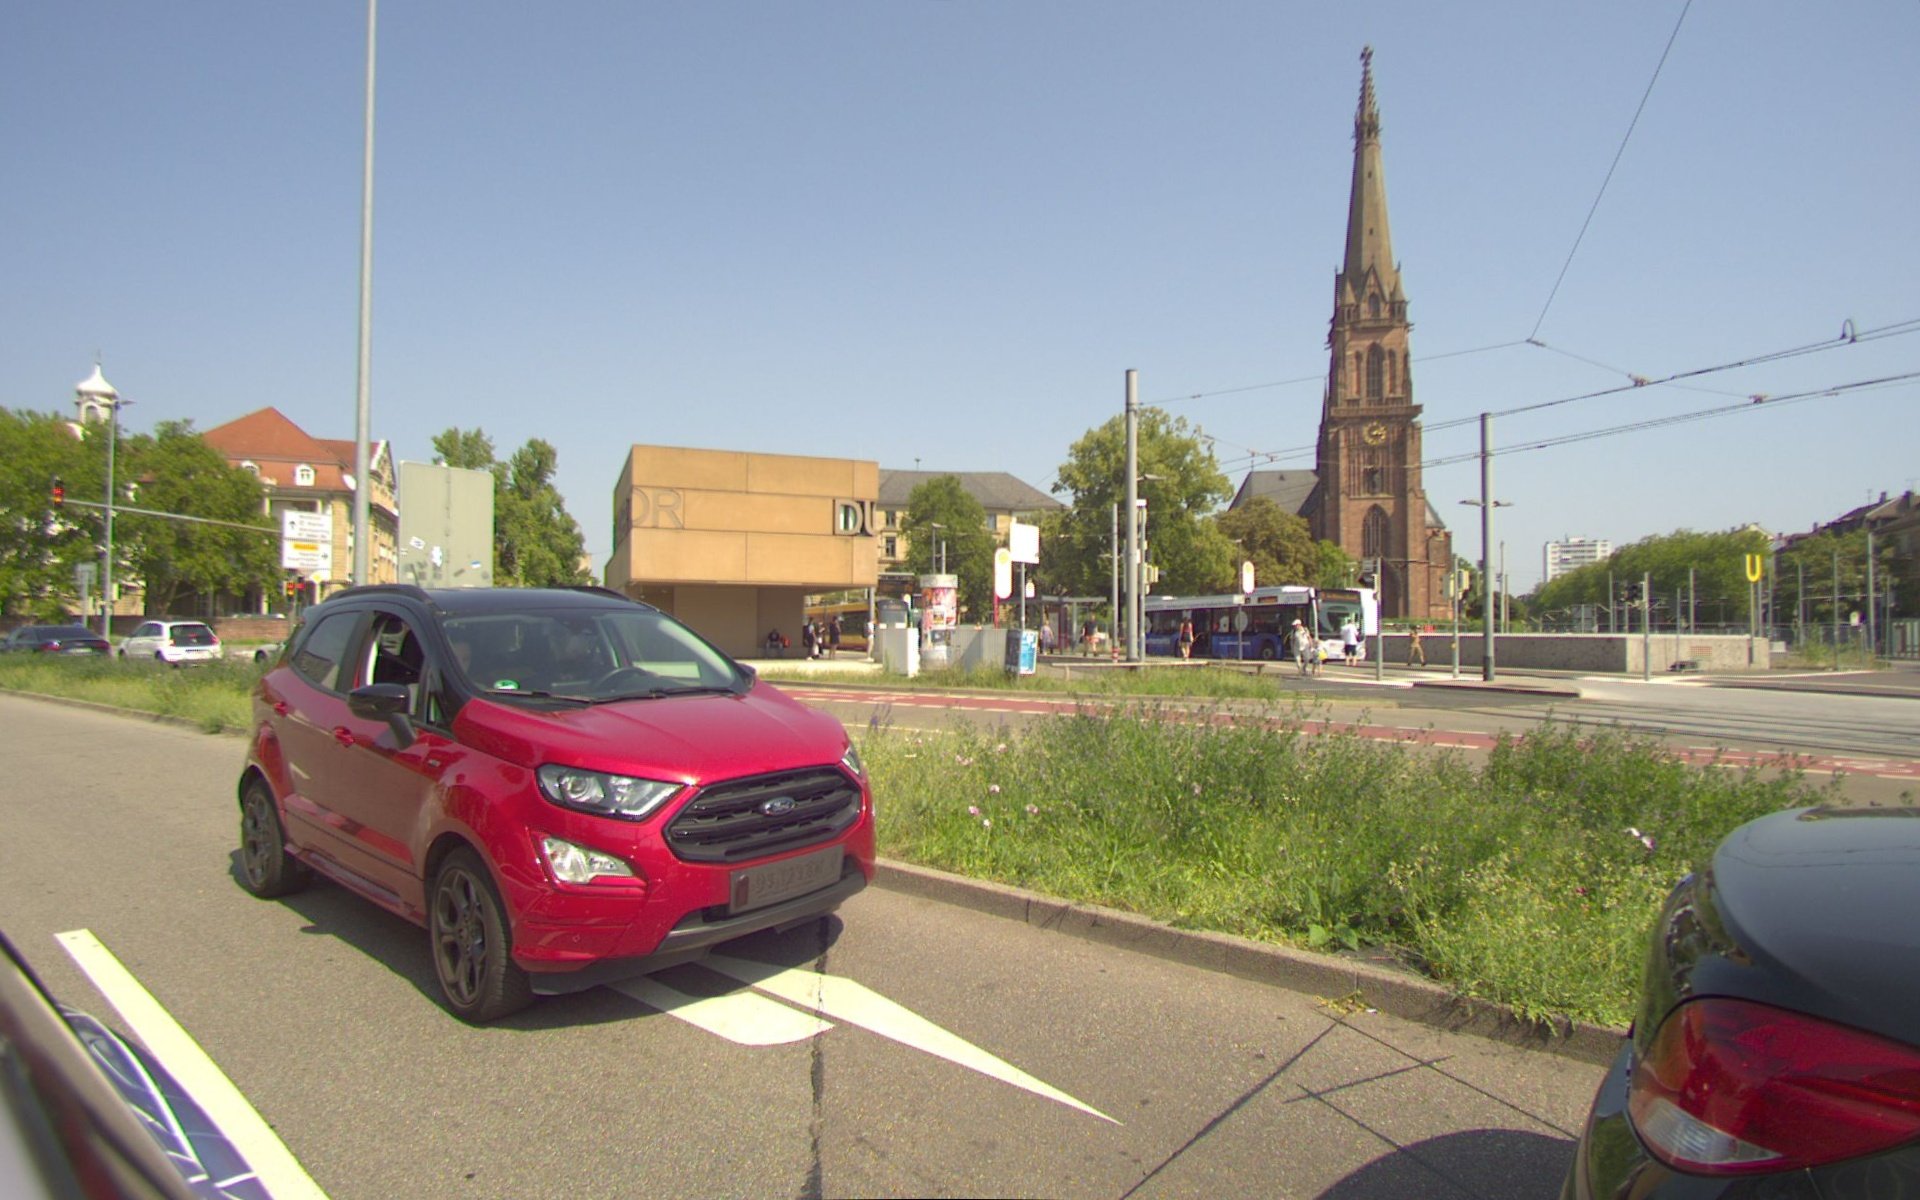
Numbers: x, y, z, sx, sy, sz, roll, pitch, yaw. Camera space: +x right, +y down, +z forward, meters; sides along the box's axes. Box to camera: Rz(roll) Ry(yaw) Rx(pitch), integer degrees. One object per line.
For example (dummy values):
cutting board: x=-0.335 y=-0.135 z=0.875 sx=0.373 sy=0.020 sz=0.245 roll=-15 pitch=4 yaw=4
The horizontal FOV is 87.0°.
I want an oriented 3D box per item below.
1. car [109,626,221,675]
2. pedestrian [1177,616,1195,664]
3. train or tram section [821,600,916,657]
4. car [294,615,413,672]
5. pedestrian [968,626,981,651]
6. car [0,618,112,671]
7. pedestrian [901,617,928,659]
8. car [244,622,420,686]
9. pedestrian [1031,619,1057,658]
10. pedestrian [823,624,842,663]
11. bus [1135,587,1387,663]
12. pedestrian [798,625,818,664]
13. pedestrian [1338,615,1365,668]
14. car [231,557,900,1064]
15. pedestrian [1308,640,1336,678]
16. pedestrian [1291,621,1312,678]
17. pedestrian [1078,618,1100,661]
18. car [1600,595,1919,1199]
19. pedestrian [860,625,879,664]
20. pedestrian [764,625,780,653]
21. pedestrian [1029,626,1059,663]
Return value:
car: x=-25.306 y=1.569 z=32.215 sx=3.460 sy=1.490 sz=1.512 roll=-1 pitch=-2 yaw=27
pedestrian: x=8.780 y=1.543 z=39.267 sx=0.632 sy=1.825 sz=0.599 roll=-1 pitch=0 yaw=16
train or tram section: x=-6.405 y=1.926 z=67.838 sx=2.658 sy=3.465 sz=13.464 roll=1 pitch=-2 yaw=-21
car: x=-21.347 y=1.494 z=35.600 sx=3.898 sy=1.868 sz=1.851 roll=0 pitch=-2 yaw=29
pedestrian: x=0.816 y=2.162 z=56.619 sx=0.546 sy=1.405 sz=0.535 roll=1 pitch=-2 yaw=-21
car: x=-25.883 y=1.261 z=28.914 sx=3.466 sy=1.437 sz=1.510 roll=-1 pitch=-2 yaw=32
pedestrian: x=-1.667 y=1.383 z=37.072 sx=0.605 sy=1.508 sz=0.761 roll=-1 pitch=-3 yaw=39
car: x=-17.094 y=1.419 z=27.504 sx=4.693 sy=1.597 sz=1.981 roll=-1 pitch=-2 yaw=28
pedestrian: x=3.994 y=1.845 z=48.370 sx=0.913 sy=1.837 sz=0.940 roll=1 pitch=-2 yaw=-21
pedestrian: x=-5.022 y=1.713 z=39.902 sx=0.541 sy=1.508 sz=0.532 roll=-1 pitch=-3 yaw=39
bus: x=12.074 y=1.086 z=42.772 sx=3.346 sy=2.733 sz=12.382 roll=1 pitch=-2 yaw=-21
pedestrian: x=-5.863 y=1.708 z=39.033 sx=0.541 sy=1.508 sz=0.532 roll=-1 pitch=-3 yaw=39
pedestrian: x=13.743 y=1.462 z=35.565 sx=0.591 sy=1.825 sz=0.640 roll=-1 pitch=0 yaw=-21
car: x=-2.238 y=0.695 z=5.132 sx=3.845 sy=1.598 sz=1.671 roll=-2 pitch=-1 yaw=43
pedestrian: x=11.148 y=1.809 z=31.178 sx=0.629 sy=1.134 sz=0.602 roll=-1 pitch=0 yaw=-1
pedestrian: x=10.482 y=1.503 z=31.051 sx=0.533 sy=1.724 sz=0.687 roll=-1 pitch=-2 yaw=24
pedestrian: x=5.586 y=1.696 z=43.763 sx=0.792 sy=1.837 sz=0.535 roll=1 pitch=-2 yaw=-21
car: x=2.718 y=0.660 z=0.461 sx=1.745 sy=1.398 sz=3.784 roll=0 pitch=-1 yaw=-44
pedestrian: x=-3.564 y=1.751 z=39.829 sx=0.541 sy=1.508 sz=0.532 roll=-1 pitch=-3 yaw=39
pedestrian: x=-7.557 y=1.553 z=40.640 sx=0.530 sy=1.108 sz=0.543 roll=1 pitch=-2 yaw=-18
pedestrian: x=4.001 y=2.124 z=48.392 sx=1.060 sy=1.709 sz=1.068 roll=1 pitch=-2 yaw=-21
